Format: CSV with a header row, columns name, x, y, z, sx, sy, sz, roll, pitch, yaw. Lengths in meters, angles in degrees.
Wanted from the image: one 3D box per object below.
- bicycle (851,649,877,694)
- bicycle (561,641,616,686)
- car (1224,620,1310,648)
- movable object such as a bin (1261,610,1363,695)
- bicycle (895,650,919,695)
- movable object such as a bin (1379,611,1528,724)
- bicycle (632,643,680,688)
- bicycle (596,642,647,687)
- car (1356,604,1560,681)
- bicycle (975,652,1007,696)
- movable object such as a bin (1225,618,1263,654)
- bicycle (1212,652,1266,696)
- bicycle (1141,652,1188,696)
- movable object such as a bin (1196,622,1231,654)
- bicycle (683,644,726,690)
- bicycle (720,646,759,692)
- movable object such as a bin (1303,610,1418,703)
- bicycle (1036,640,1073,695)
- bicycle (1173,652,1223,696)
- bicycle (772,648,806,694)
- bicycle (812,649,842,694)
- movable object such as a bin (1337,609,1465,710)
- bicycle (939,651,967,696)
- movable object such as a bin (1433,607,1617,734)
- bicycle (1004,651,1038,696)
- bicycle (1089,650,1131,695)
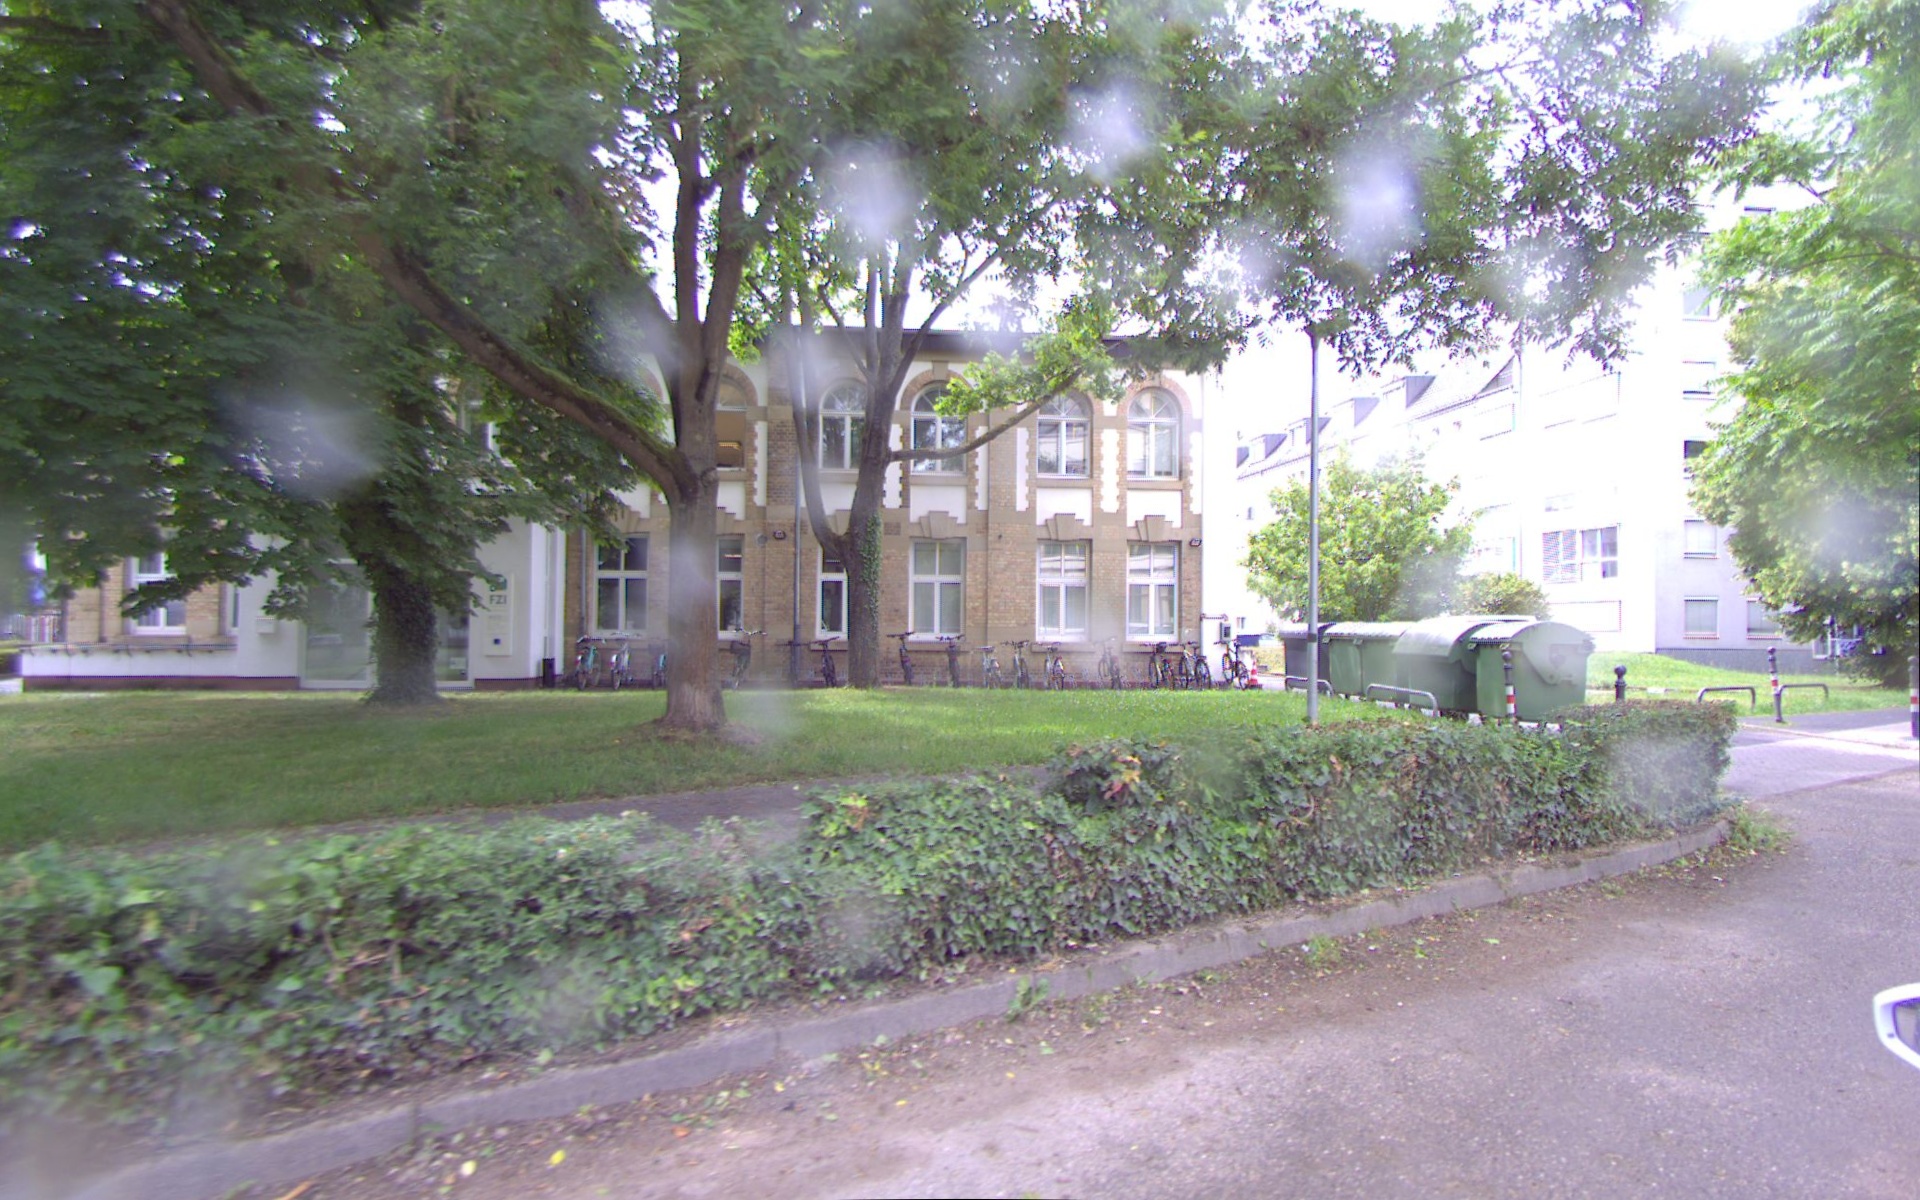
name,x,y,z,sx,sy,sz,roll,pitch,yaw
bicycle,-1.987,1.469,20.874,0.444,0.810,2.056,2,-1,-3
bicycle,-7.486,1.265,20.311,0.444,0.810,2.056,2,-1,-3
car,16.125,1.788,52.843,3.924,1.372,1.790,-1,-2,-5
movable object such as a bin,6.594,0.965,18.907,1.338,1.490,1.365,2,-1,-5
bicycle,-1.119,1.496,20.934,0.444,0.810,2.056,2,-1,-3
movable object such as a bin,7.021,0.930,14.390,1.338,1.490,1.464,2,-1,-5
bicycle,-6.150,1.303,20.409,0.444,0.810,2.056,2,-1,-3
bicycle,-6.836,1.284,20.364,0.444,0.810,2.056,2,-1,-3
car,14.160,1.208,28.764,4.856,2.040,2.000,1,-2,-1
bicycle,0.636,1.524,20.998,0.444,0.810,2.056,2,-1,-3
movable object such as a bin,12.409,1.565,43.970,1.255,1.503,1.101,2,-1,-5
bicycle,5.917,1.557,21.422,0.444,0.810,2.056,2,-1,-3
bicycle,4.298,1.544,21.244,0.444,0.810,2.056,2,-1,-3
movable object such as a bin,11.090,1.668,43.969,1.156,1.335,1.055,2,-1,-5
bicycle,-5.191,1.344,20.503,0.444,0.810,2.056,2,-1,-3
bicycle,-4.500,1.387,20.561,0.444,0.810,2.056,2,-1,-3
movable object such as a bin,6.840,0.940,17.234,1.338,1.490,1.365,2,-1,-5
bicycle,1.973,1.396,21.136,0.444,1.051,2.056,2,-1,-3
bicycle,5.053,1.558,21.415,0.444,0.810,2.056,2,-1,-3
bicycle,-3.504,1.437,20.655,0.444,0.810,2.056,2,-1,-3
bicycle,-2.732,1.452,20.718,0.444,0.810,2.056,2,-1,-3
movable object such as a bin,6.907,0.910,15.828,1.338,1.490,1.351,2,-1,-5
bicycle,-0.168,1.517,20.977,0.444,0.810,2.056,2,-1,-3
movable object such as a bin,7.158,0.863,12.843,1.387,1.490,1.560,2,-1,-5
bicycle,1.260,1.518,21.063,0.444,0.810,2.056,2,-1,-3
bicycle,3.139,1.502,21.152,0.444,0.810,2.056,2,-1,-3
